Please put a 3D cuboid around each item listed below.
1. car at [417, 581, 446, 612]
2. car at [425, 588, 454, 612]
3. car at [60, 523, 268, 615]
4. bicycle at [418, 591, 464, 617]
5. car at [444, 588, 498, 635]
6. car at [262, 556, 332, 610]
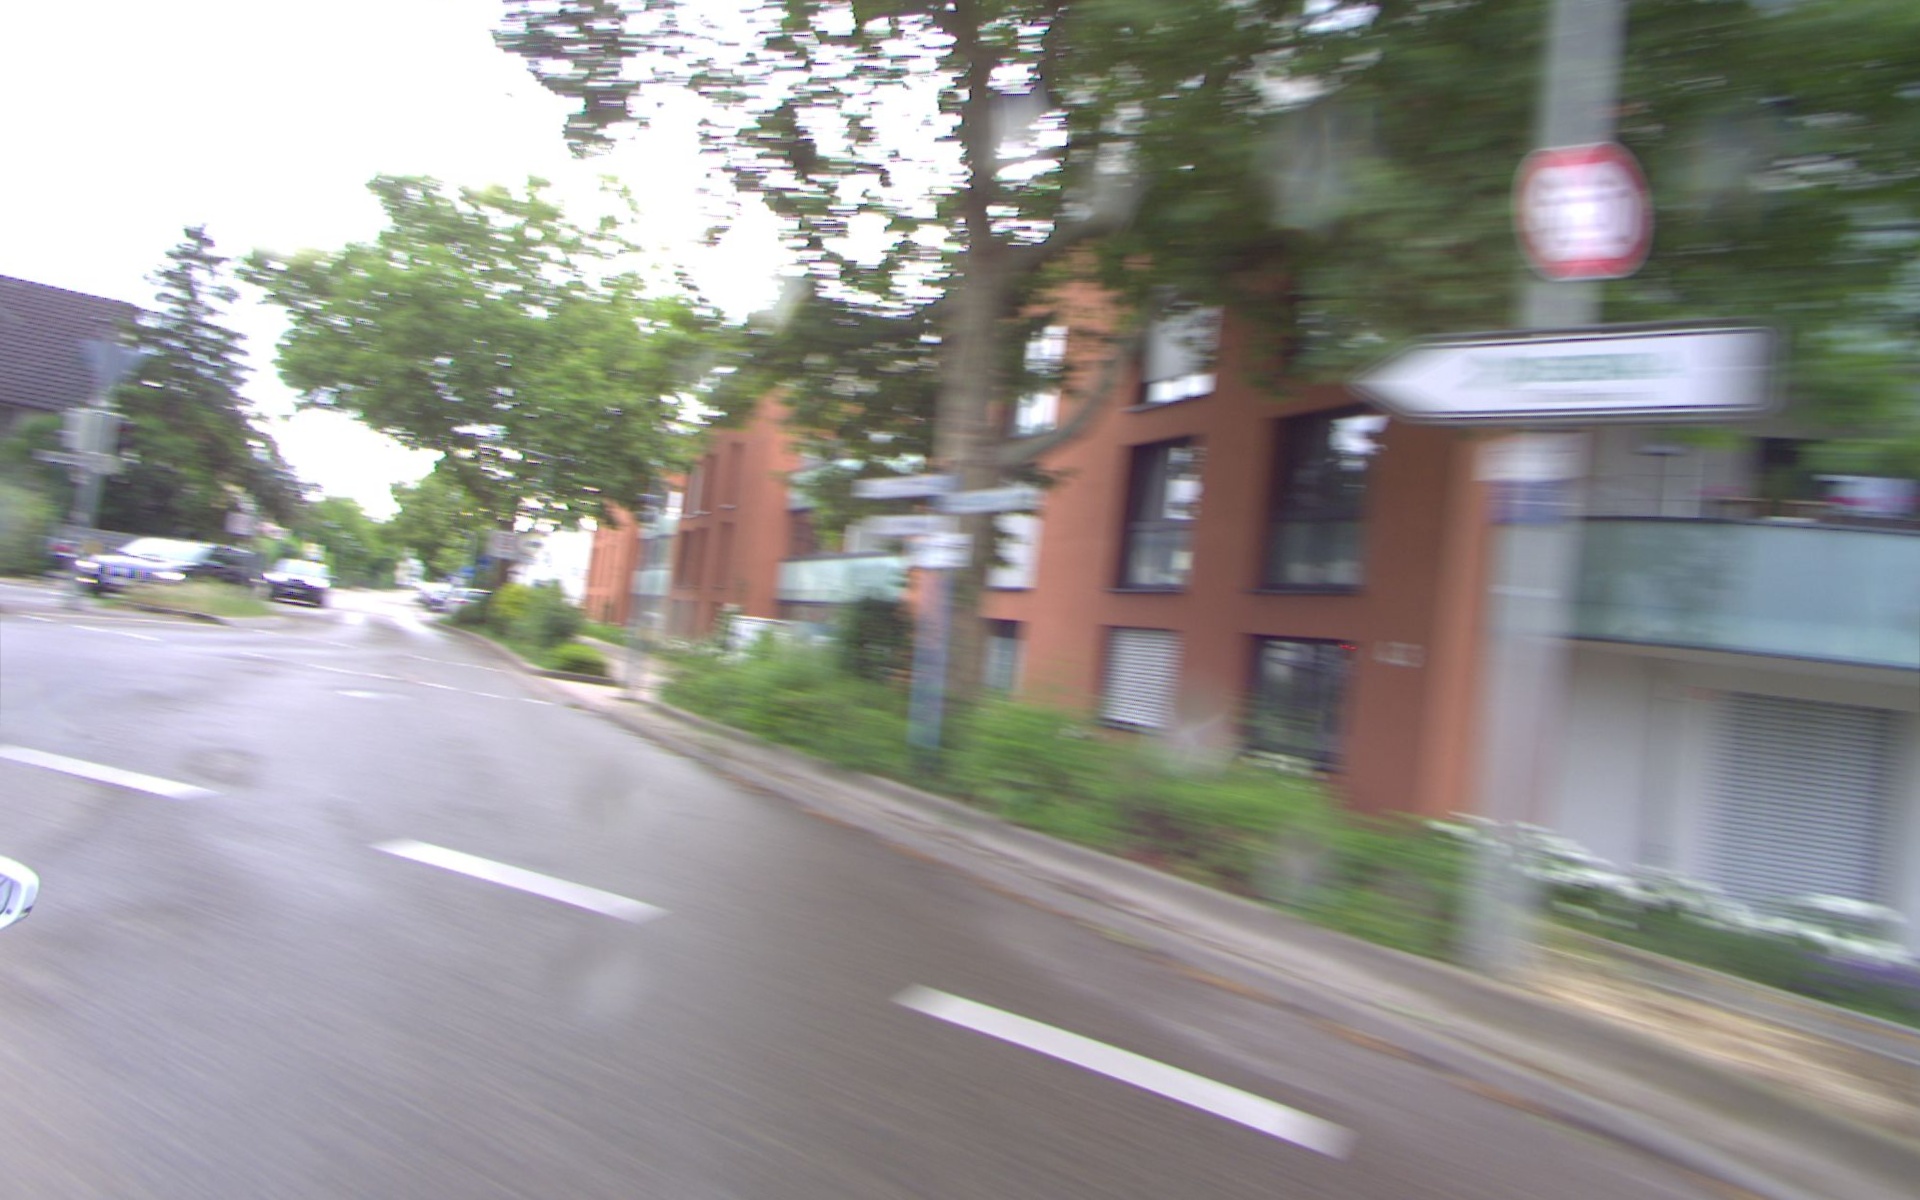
[{"bbox_3d":[-41.362,-0.293,78.691,1.632,2.040,3.688,9,-2,-29],"label":"car"},{"bbox_3d":[-38.290,-0.043,74.008,1.632,1.390,3.688,9,-2,-29],"label":"car"},{"bbox_3d":[-17.436,-0.587,22.337,1.920,1.467,4.291,10,-4,-15],"label":"car"},{"bbox_3d":[-32.245,0.268,62.559,2.315,1.236,0.733,9,-2,-22],"label":"bicycle"},{"bbox_3d":[-20.405,0.446,41.905,1.632,1.530,4.116,9,-2,-29],"label":"car"},{"bbox_3d":[-25.031,-0.667,38.082,1.866,1.687,3.684,10,-3,-31],"label":"car"}]
